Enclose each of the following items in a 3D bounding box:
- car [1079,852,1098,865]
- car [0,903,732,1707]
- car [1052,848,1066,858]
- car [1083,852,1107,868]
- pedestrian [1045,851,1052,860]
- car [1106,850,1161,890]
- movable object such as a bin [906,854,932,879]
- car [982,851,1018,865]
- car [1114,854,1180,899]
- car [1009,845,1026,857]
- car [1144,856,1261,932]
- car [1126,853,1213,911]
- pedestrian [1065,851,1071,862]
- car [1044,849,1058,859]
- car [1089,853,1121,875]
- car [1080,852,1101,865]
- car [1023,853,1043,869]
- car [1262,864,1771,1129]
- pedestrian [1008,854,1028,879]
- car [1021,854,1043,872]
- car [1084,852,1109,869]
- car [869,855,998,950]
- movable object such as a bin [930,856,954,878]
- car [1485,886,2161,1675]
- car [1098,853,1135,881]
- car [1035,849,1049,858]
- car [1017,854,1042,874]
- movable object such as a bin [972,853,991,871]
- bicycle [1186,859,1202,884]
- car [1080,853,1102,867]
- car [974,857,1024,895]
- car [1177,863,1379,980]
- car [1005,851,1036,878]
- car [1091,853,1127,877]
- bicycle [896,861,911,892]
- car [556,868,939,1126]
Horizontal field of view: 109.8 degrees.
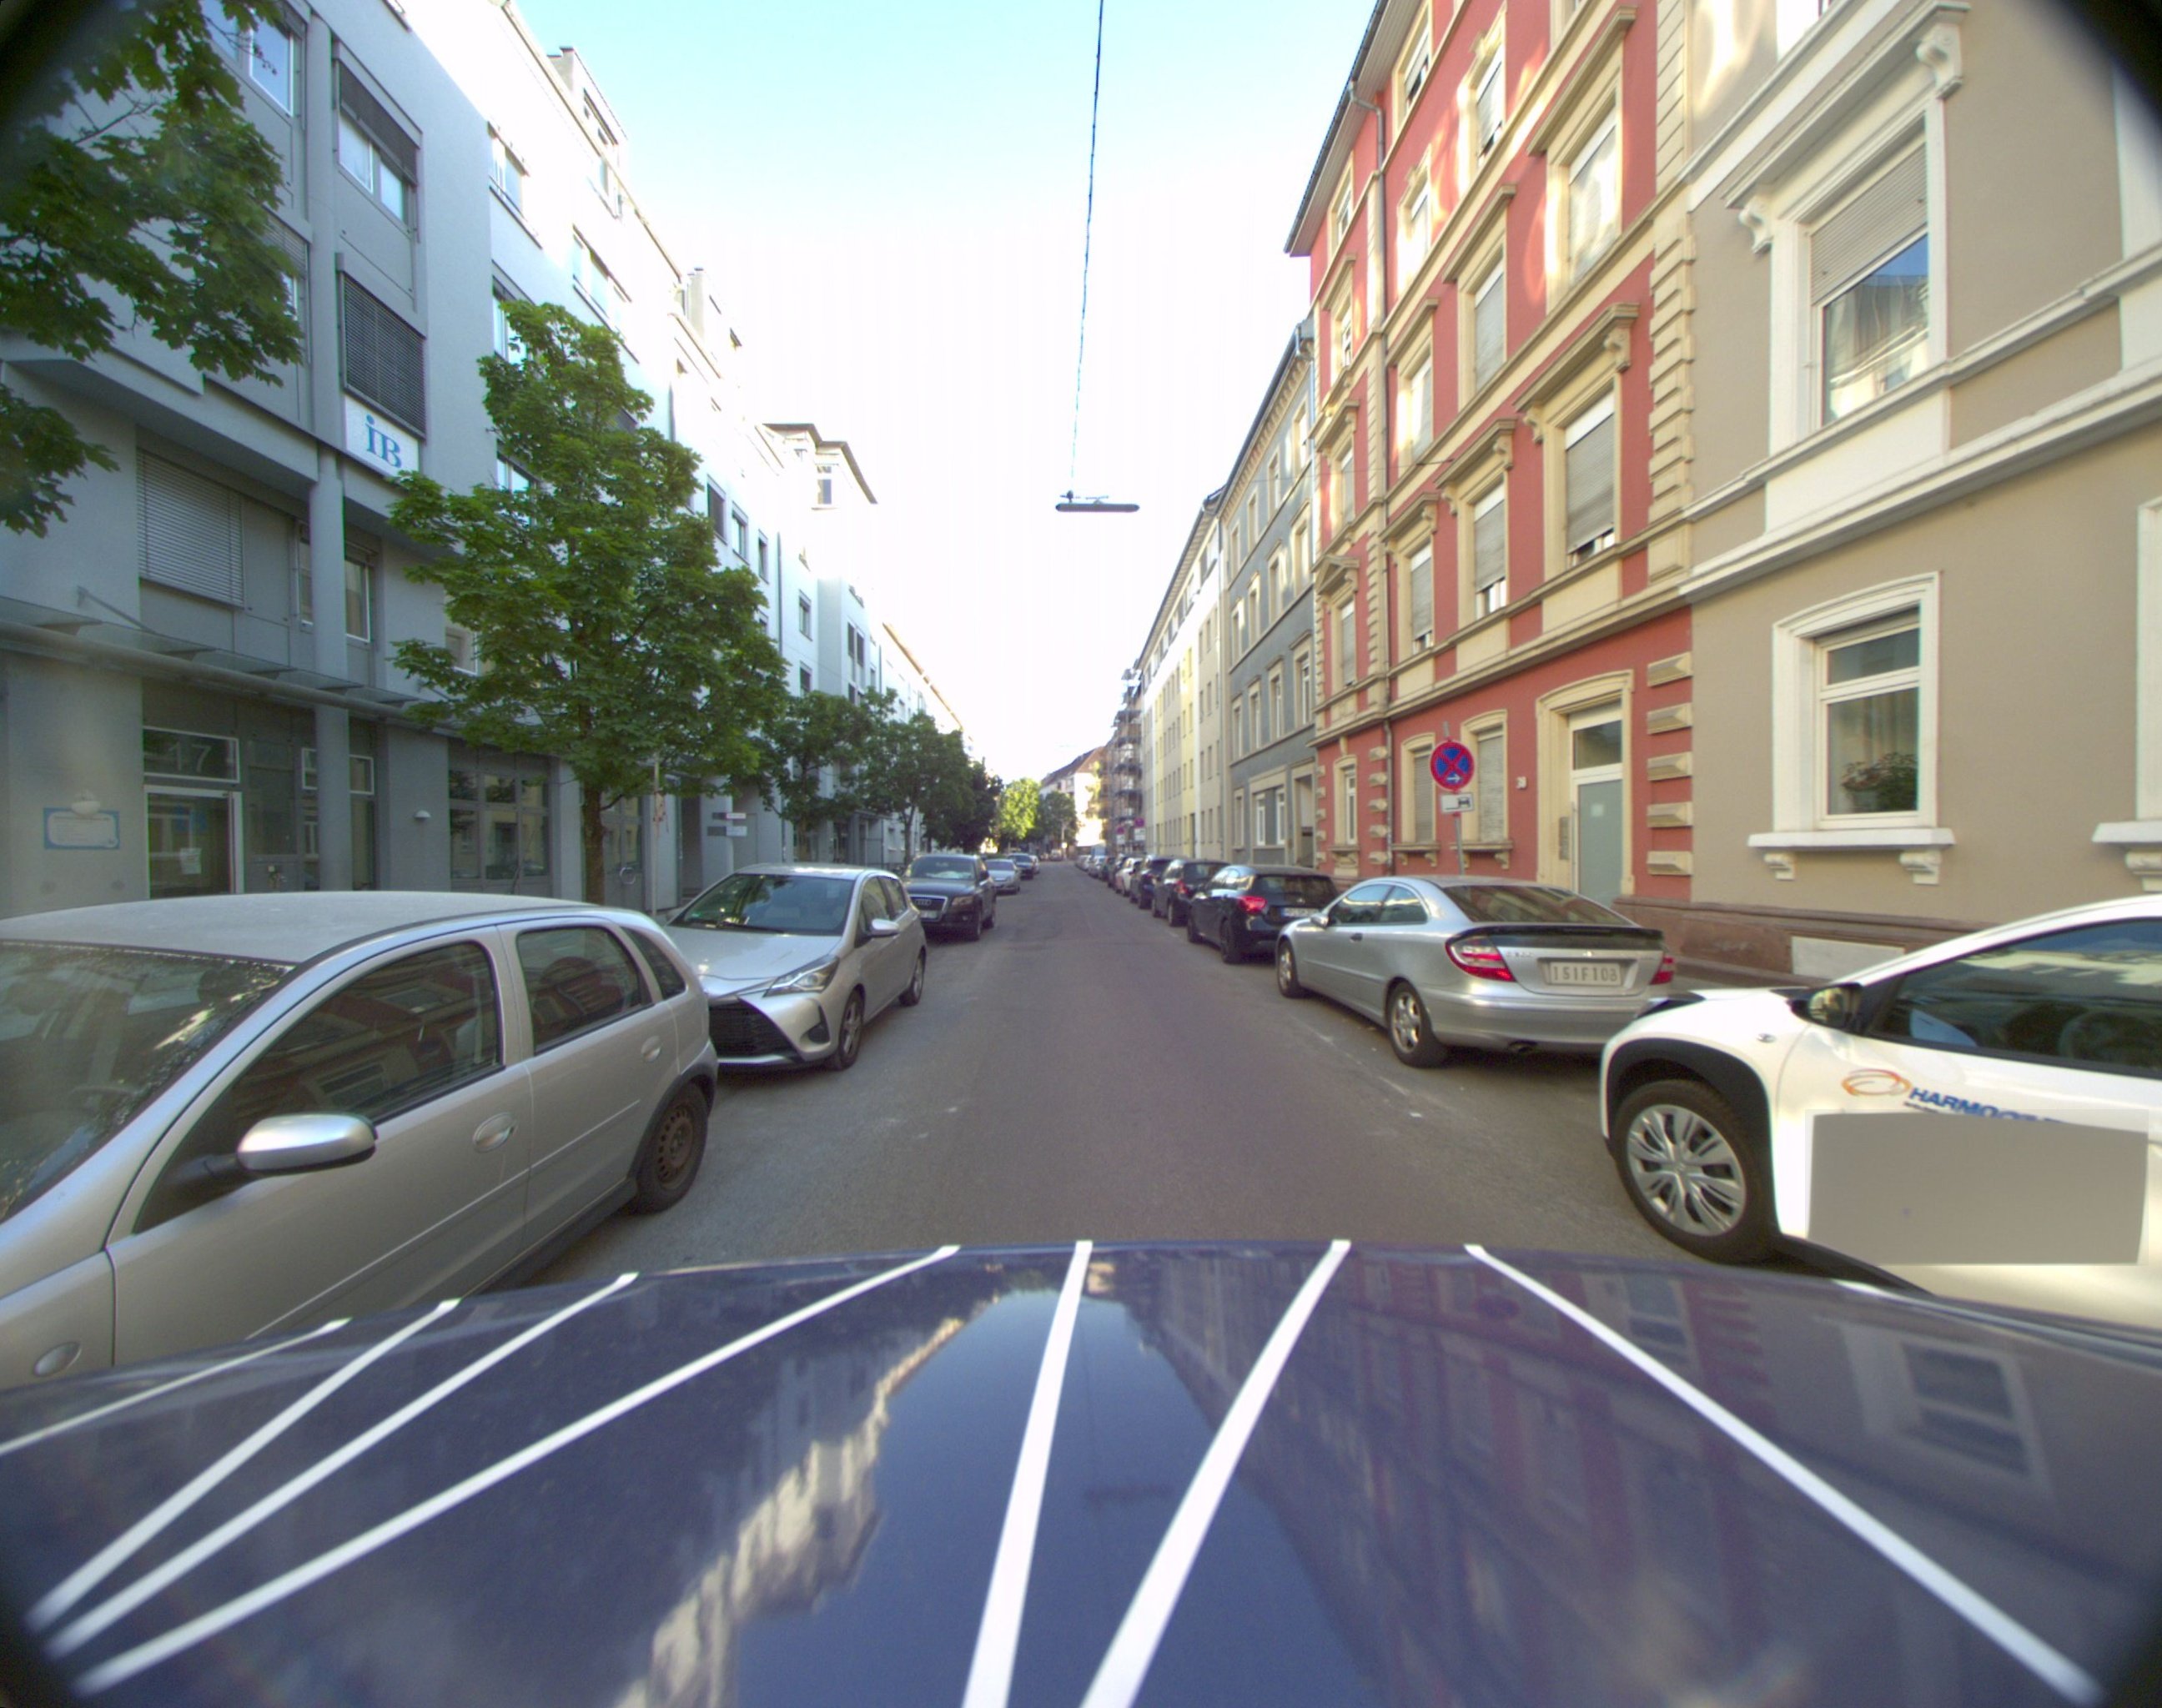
[{"bbox_3d":[0.857,0.547,89.178,1.999,1.423,3.998,1,0,-3],"label":"car"},{"bbox_3d":[-2.597,0.997,1.889,1.680,1.467,3.729,1,0,1],"label":"car"},{"bbox_3d":[-3.819,-0.204,131.669,2.081,1.760,4.214,1,0,-8],"label":"car"},{"bbox_3d":[1.296,0.596,73.780,1.999,1.439,3.998,1,0,-3],"label":"car"},{"bbox_3d":[-5.446,0.182,126.954,0.804,1.455,0.868,-3,1,-45],"label":"pedestrian"},{"bbox_3d":[2.300,0.675,34.234,1.926,1.654,4.467,1,0,-3],"label":"car"},{"bbox_3d":[-9.530,0.707,44.716,1.265,1.428,1.138,0,1,-2],"label":"movable object such as a bin"},{"bbox_3d":[-9.307,0.487,87.782,3.998,1.556,1.999,1,1,-4],"label":"car"},{"bbox_3d":[2.428,0.785,28.857,1.926,1.551,4.266,1,0,-3],"label":"car"},{"bbox_3d":[-11.746,-0.562,140.172,2.163,2.270,6.199,1,0,-15],"label":"car"},{"bbox_3d":[2.748,0.857,18.141,1.906,1.551,4.239,1,0,-3],"label":"car"},{"bbox_3d":[2.559,0.784,22.956,1.926,1.551,4.266,1,0,-3],"label":"car"},{"bbox_3d":[-1.891,0.355,111.026,0.749,1.455,0.802,-2,1,-2],"label":"pedestrian"},{"bbox_3d":[-5.364,-0.075,137.374,2.081,1.760,4.214,1,0,-8],"label":"car"},{"bbox_3d":[1.672,0.661,54.508,1.928,1.480,4.615,1,0,-3],"label":"car"},{"bbox_3d":[1.003,0.462,84.510,1.999,1.423,3.998,1,0,-3],"label":"car"},{"bbox_3d":[-4.409,0.629,70.481,1.681,1.411,4.134,1,0,-2],"label":"car"},{"bbox_3d":[3.183,0.907,6.774,1.926,1.551,4.266,1,0,-3],"label":"car"},{"bbox_3d":[-3.706,0.719,44.538,0.868,1.455,0.804,1,1,32],"label":"pedestrian"},{"bbox_3d":[-4.103,0.720,64.300,1.681,1.411,4.135,1,0,-2],"label":"car"},{"bbox_3d":[1.379,0.583,68.952,1.999,1.496,3.998,1,0,-3],"label":"car"},{"bbox_3d":[-2.838,0.857,15.607,1.890,1.613,4.433,1,0,-2],"label":"car"},{"bbox_3d":[-8.232,0.766,45.008,1.265,1.313,1.138,0,1,-2],"label":"movable object such as a bin"},{"bbox_3d":[3.172,0.941,1.973,1.925,1.498,4.267,1,0,0],"label":"car"},{"bbox_3d":[2.037,0.703,44.291,1.784,1.480,4.419,1,0,-2],"label":"car"},{"bbox_3d":[-7.578,-0.055,147.558,2.082,1.760,4.214,1,0,-10],"label":"car"},{"bbox_3d":[-4.002,0.746,59.352,1.680,1.474,3.652,1,0,1],"label":"car"},{"bbox_3d":[-7.780,0.604,59.466,1.288,1.428,1.223,0,1,-2],"label":"movable object such as a bin"},{"bbox_3d":[5.279,0.810,35.533,0.451,1.068,1.751,-2,1,-1],"label":"bicycle"},{"bbox_3d":[1.048,0.602,79.089,1.999,1.423,3.998,1,0,-3],"label":"car"},{"bbox_3d":[-3.382,0.895,32.078,1.768,1.421,4.343,1,0,-2],"label":"car"},{"bbox_3d":[2.875,0.923,12.168,1.926,1.475,4.266,1,0,-3],"label":"car"},{"bbox_3d":[-3.823,0.635,48.748,1.876,1.626,4.720,1,0,-3],"label":"car"},{"bbox_3d":[1.744,0.675,49.140,1.928,1.480,4.616,1,0,-2],"label":"car"},{"bbox_3d":[-7.059,0.876,30.252,0.522,1.161,1.738,1,1,-12],"label":"bicycle"},{"bbox_3d":[-2.484,0.947,6.794,1.681,1.516,3.970,1,0,0],"label":"car"}]
